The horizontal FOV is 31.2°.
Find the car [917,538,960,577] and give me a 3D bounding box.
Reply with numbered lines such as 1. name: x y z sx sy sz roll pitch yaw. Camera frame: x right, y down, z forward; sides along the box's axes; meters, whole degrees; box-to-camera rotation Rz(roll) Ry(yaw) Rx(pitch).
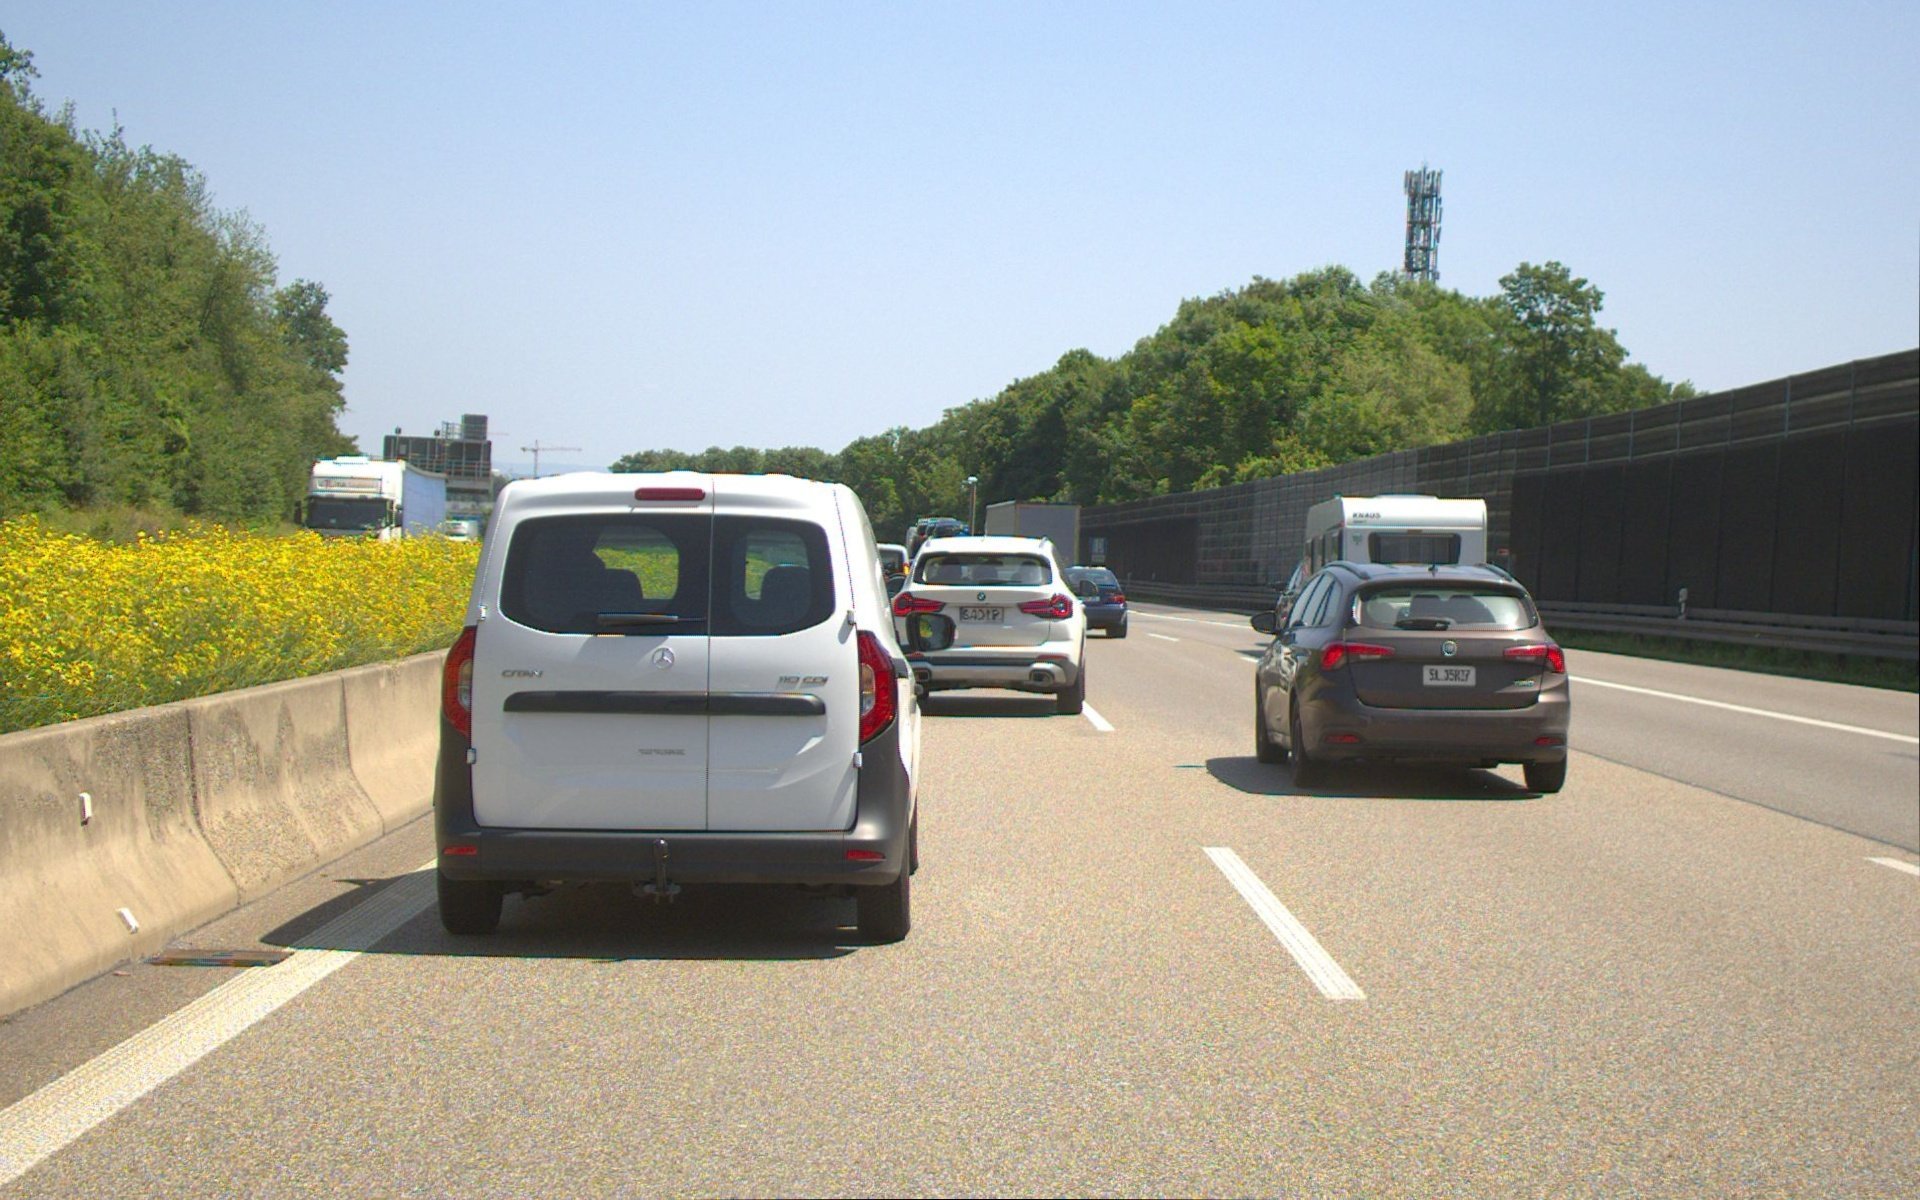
1. car: -1.157 -2.290 184.772 1.993 2.007 4.001 1 1 -5

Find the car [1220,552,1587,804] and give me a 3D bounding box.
1. car: 2.922 0.454 23.544 1.838 1.508 4.402 2 1 -1

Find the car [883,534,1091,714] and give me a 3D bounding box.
1. car: 0.216 0.189 33.579 1.871 1.603 3.879 2 1 -1

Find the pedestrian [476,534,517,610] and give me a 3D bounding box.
1. pedestrian: -8.508 -0.517 63.116 0.662 1.360 0.532 1 1 -1

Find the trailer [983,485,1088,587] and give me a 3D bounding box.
1. trailer: 2.990 -2.553 140.135 3.081 3.972 10.325 1 0 -5

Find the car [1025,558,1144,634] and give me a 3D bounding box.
1. car: 2.428 -0.100 67.745 1.824 1.419 4.001 1 0 -5

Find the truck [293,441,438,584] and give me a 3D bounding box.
1. truck: -16.900 -2.447 98.294 2.748 3.844 8.414 1 1 -1

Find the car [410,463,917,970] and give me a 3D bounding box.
1. car: -1.100 0.403 14.409 1.802 1.802 4.000 1 1 -1

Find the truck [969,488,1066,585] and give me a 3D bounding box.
1. truck: 2.399 -2.683 147.771 3.081 3.972 9.648 1 0 -5

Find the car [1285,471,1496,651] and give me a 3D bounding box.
1. car: 7.012 -0.629 56.730 2.478 2.756 6.220 1 0 -2

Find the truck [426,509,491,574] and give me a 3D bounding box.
1. truck: -28.042 -3.262 192.419 2.735 3.463 7.315 2 1 -2
